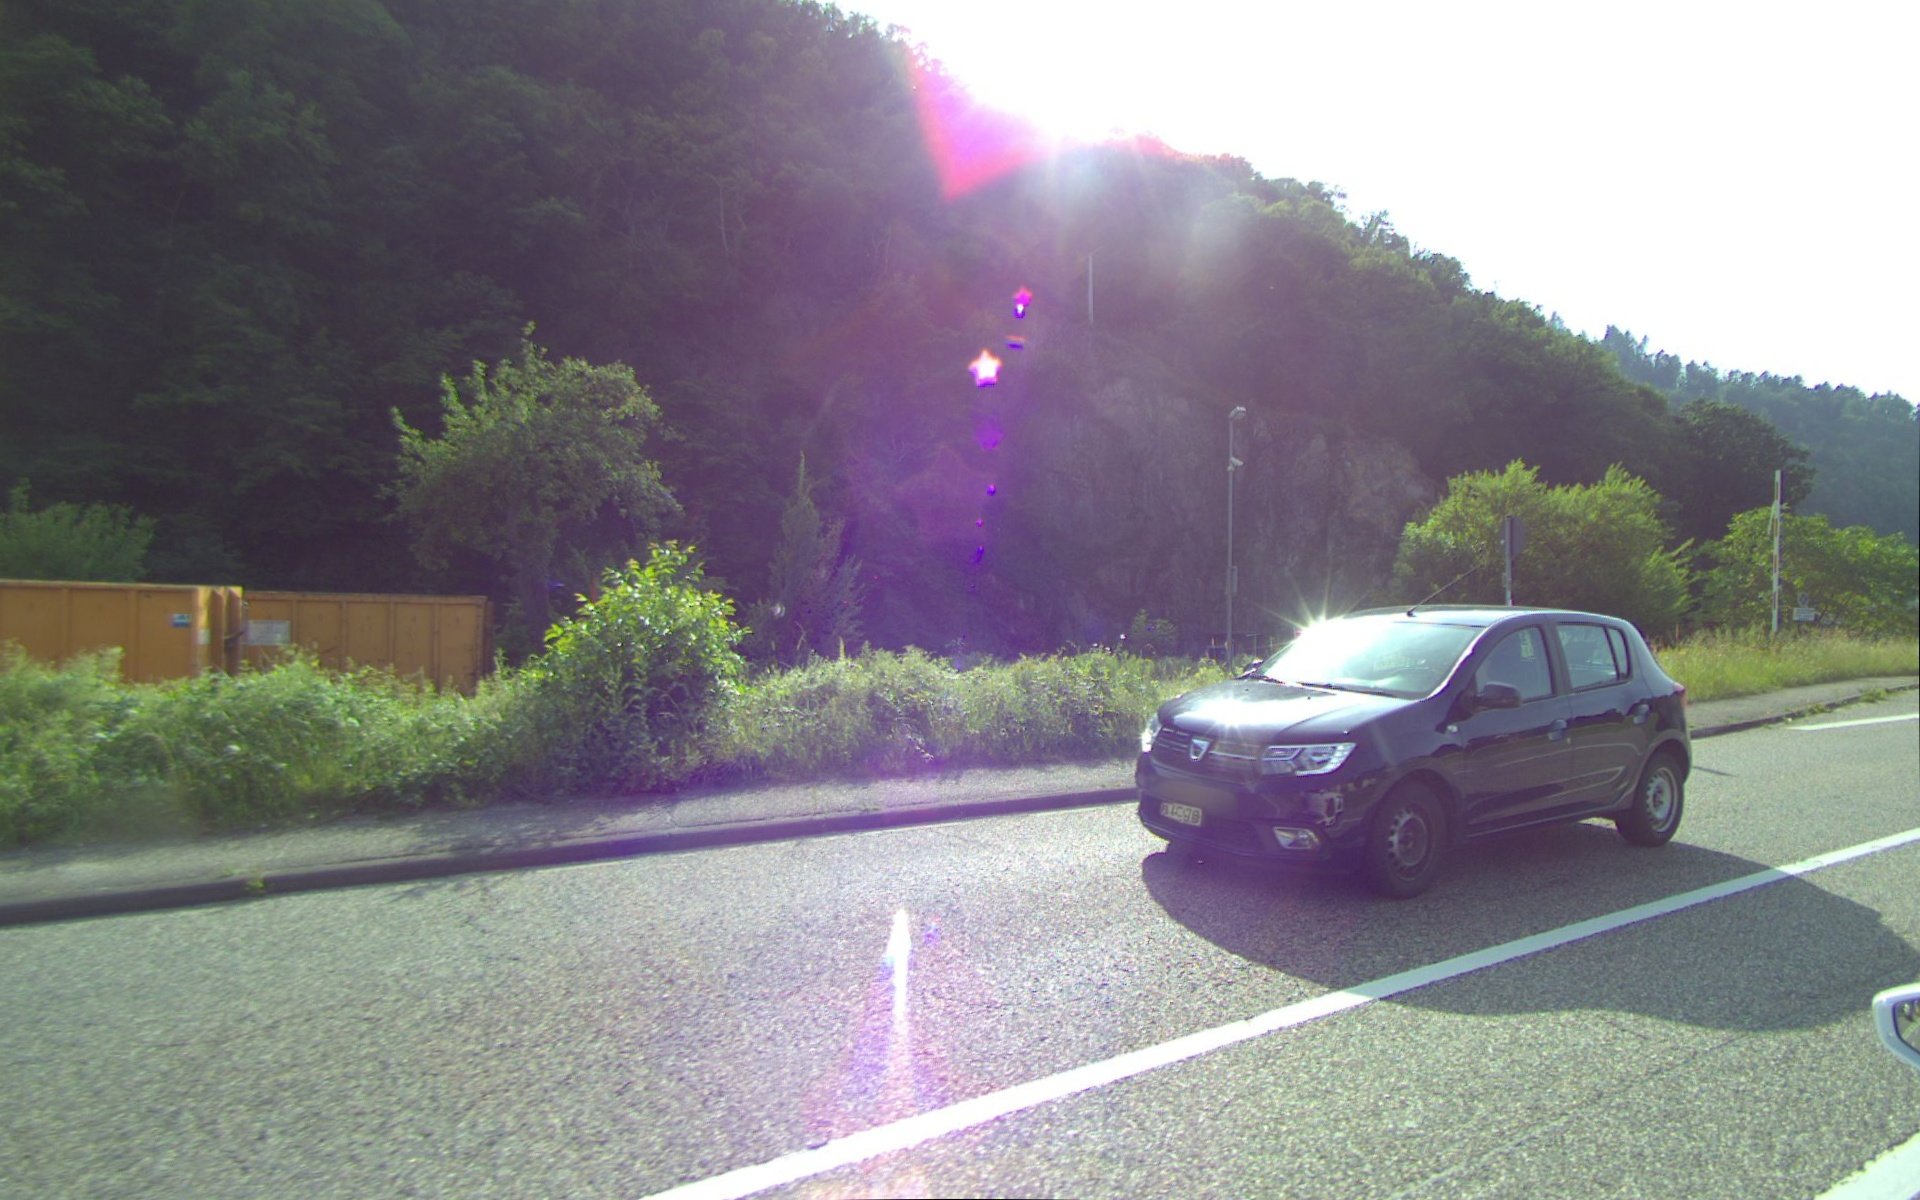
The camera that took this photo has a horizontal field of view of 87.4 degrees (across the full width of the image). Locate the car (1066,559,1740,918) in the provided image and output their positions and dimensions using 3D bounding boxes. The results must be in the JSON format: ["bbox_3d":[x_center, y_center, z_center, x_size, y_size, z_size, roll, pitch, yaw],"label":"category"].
[{"bbox_3d":[2.935,0.644,6.404,4.267,1.606,1.837,1,0,-32],"label":"car"}]
